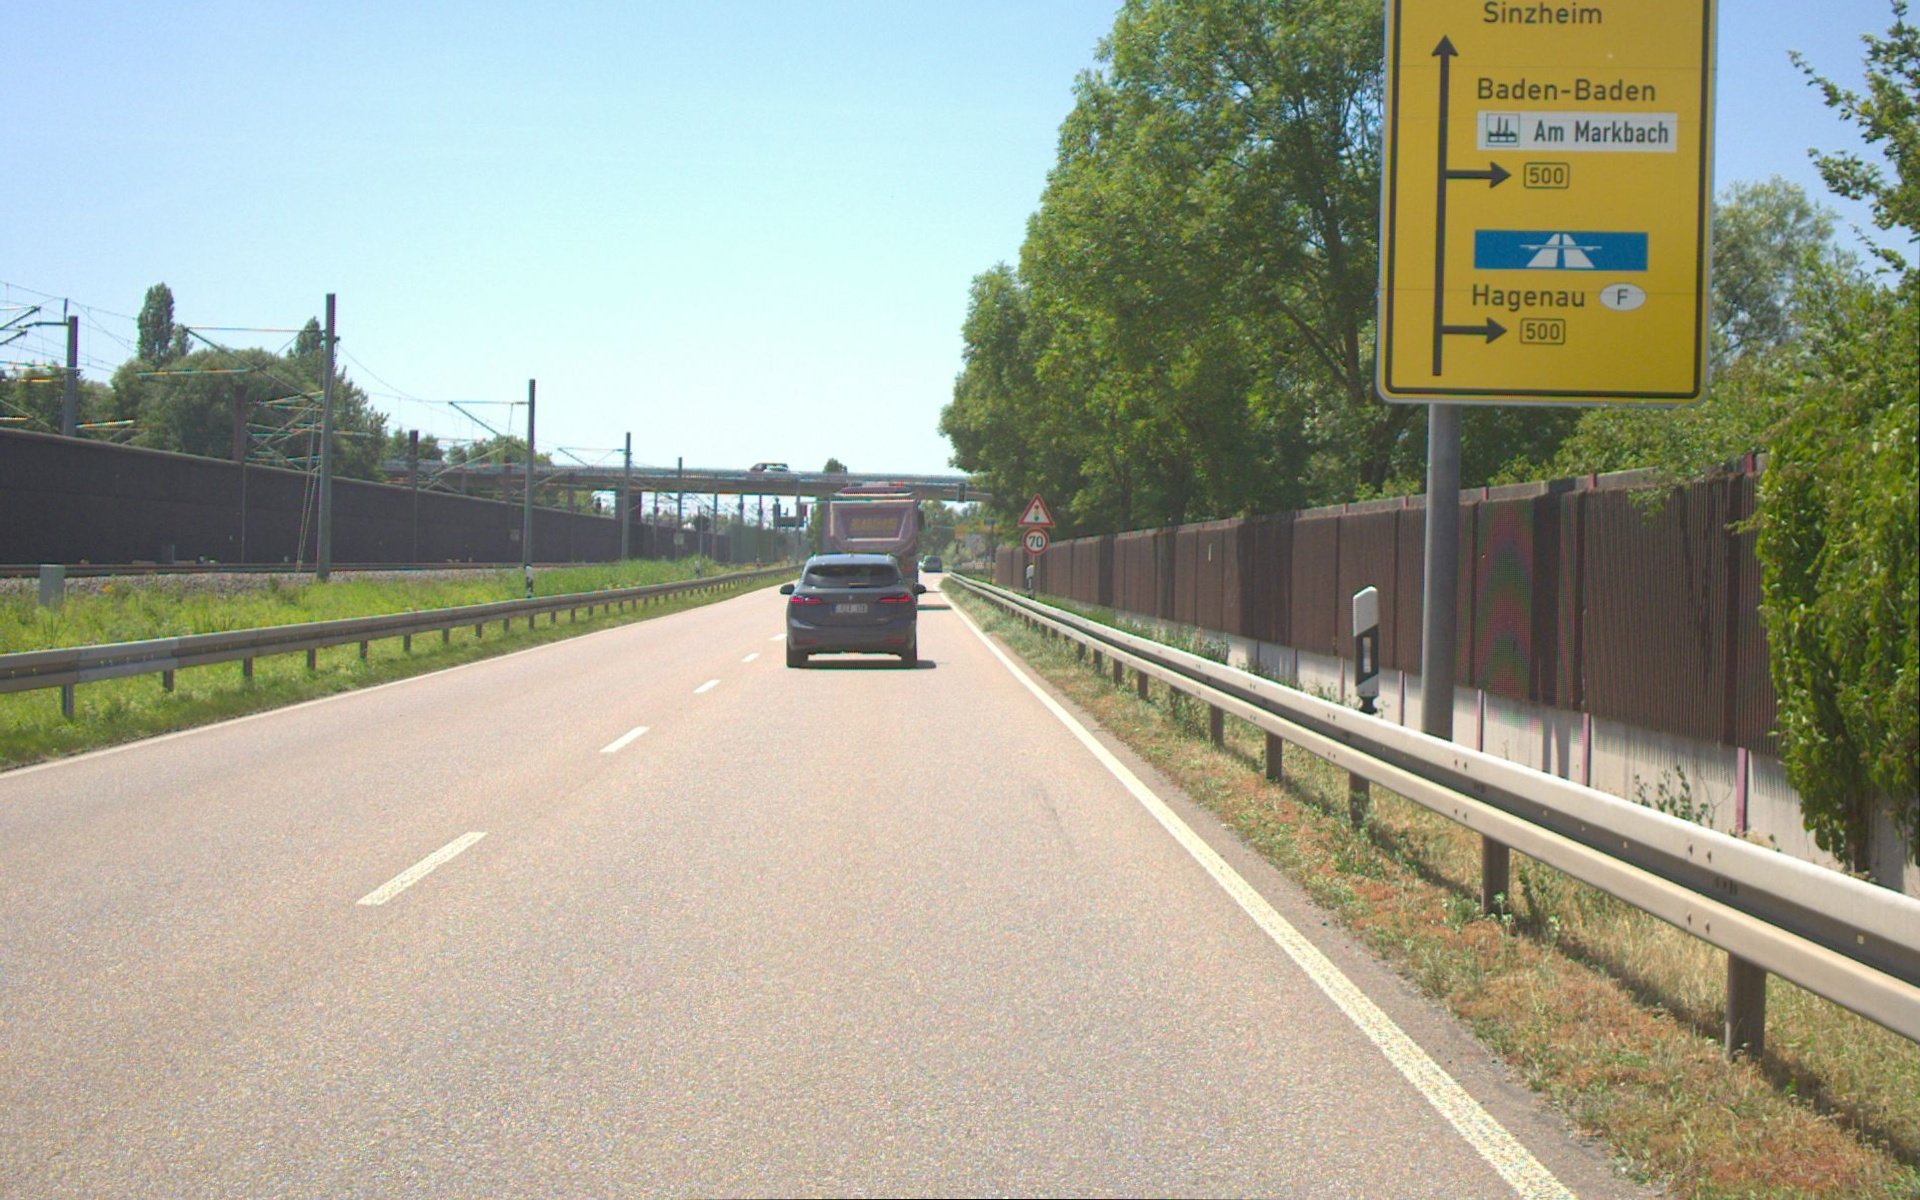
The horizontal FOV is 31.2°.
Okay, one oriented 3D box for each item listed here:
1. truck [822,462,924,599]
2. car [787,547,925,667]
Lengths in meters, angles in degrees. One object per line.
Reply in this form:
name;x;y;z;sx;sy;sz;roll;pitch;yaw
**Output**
truck;-2.527;-2.018;102.335;2.833;3.808;11.886;0;1;-1
car;-1.492;0.070;48.535;1.844;1.617;4.226;0;1;-2
